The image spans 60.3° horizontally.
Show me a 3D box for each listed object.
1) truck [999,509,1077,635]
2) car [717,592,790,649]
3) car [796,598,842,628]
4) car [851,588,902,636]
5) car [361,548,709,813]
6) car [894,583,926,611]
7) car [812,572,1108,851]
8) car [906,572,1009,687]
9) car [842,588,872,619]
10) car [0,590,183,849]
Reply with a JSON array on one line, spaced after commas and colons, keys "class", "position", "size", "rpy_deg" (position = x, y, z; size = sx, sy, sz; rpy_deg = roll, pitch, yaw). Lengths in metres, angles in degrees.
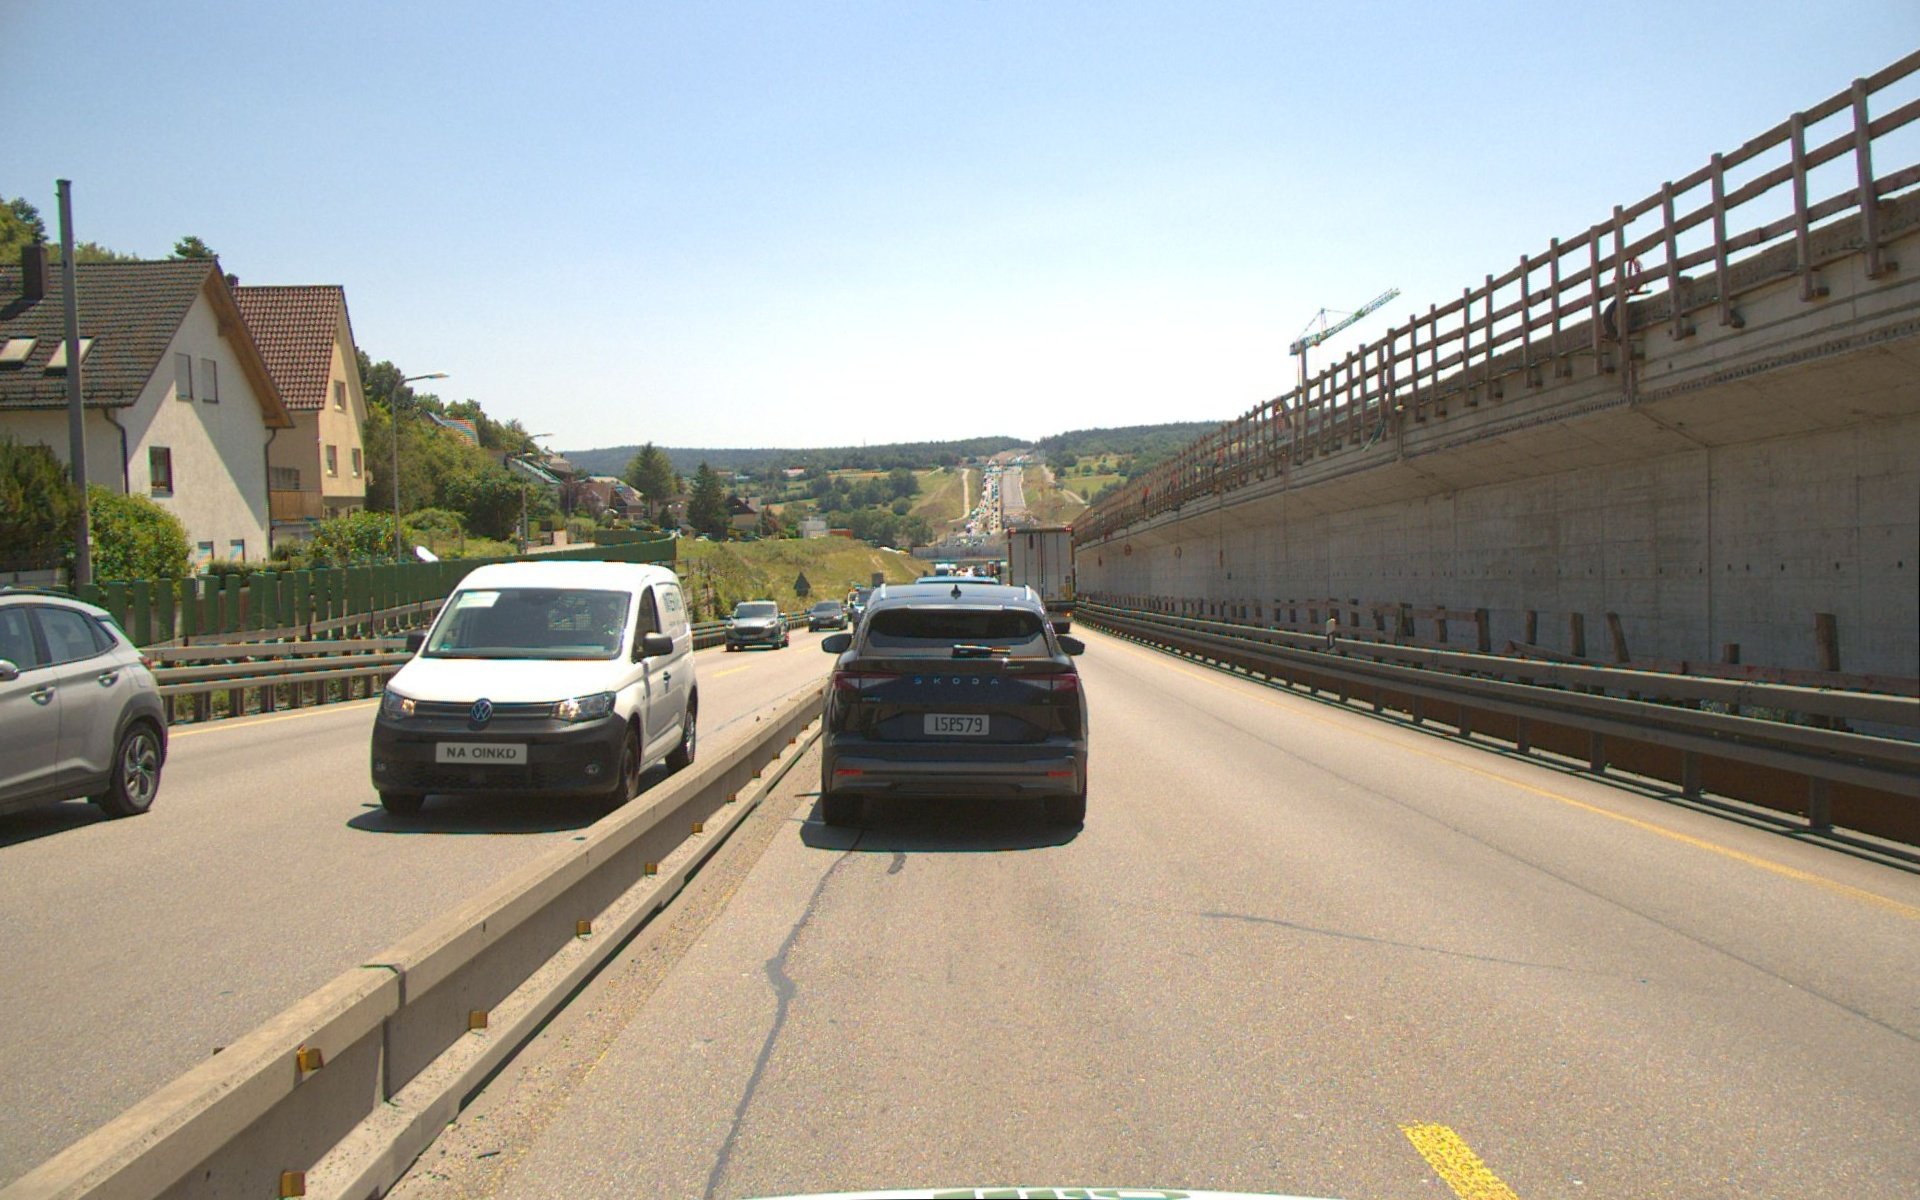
[{"class": "truck", "position": [3.122, -1.015, 68.800], "size": [2.787, 4.696, 11.812], "rpy_deg": [-2, 0, 1]}, {"class": "car", "position": [-7.048, 0.700, 56.920], "size": [1.953, 1.859, 4.507], "rpy_deg": [1, 0, -1]}, {"class": "car", "position": [-7.067, 0.660, 83.303], "size": [1.953, 1.467, 4.363], "rpy_deg": [1, 0, -1]}, {"class": "car", "position": [-3.717, 0.535, 74.136], "size": [1.953, 2.049, 4.968], "rpy_deg": [-2, 0, 0]}, {"class": "car", "position": [-3.174, 0.534, 13.230], "size": [1.773, 1.771, 4.255], "rpy_deg": [0, 0, -2]}, {"class": "car", "position": [-3.499, -0.173, 117.463], "size": [2.113, 1.939, 5.325], "rpy_deg": [-1, 0, 0]}, {"class": "car", "position": [-0.007, 0.677, 12.014], "size": [1.746, 1.625, 3.755], "rpy_deg": [-3, 0, 0]}, {"class": "car", "position": [-0.092, 0.487, 29.587], "size": [1.714, 1.928, 3.754], "rpy_deg": [0, 0, -2]}, {"class": "car", "position": [-6.953, 0.214, 111.013], "size": [1.790, 1.959, 5.237], "rpy_deg": [-1, 0, -6]}, {"class": "car", "position": [-6.419, 0.697, 9.986], "size": [1.667, 1.505, 3.973], "rpy_deg": [0, 0, -2]}]
